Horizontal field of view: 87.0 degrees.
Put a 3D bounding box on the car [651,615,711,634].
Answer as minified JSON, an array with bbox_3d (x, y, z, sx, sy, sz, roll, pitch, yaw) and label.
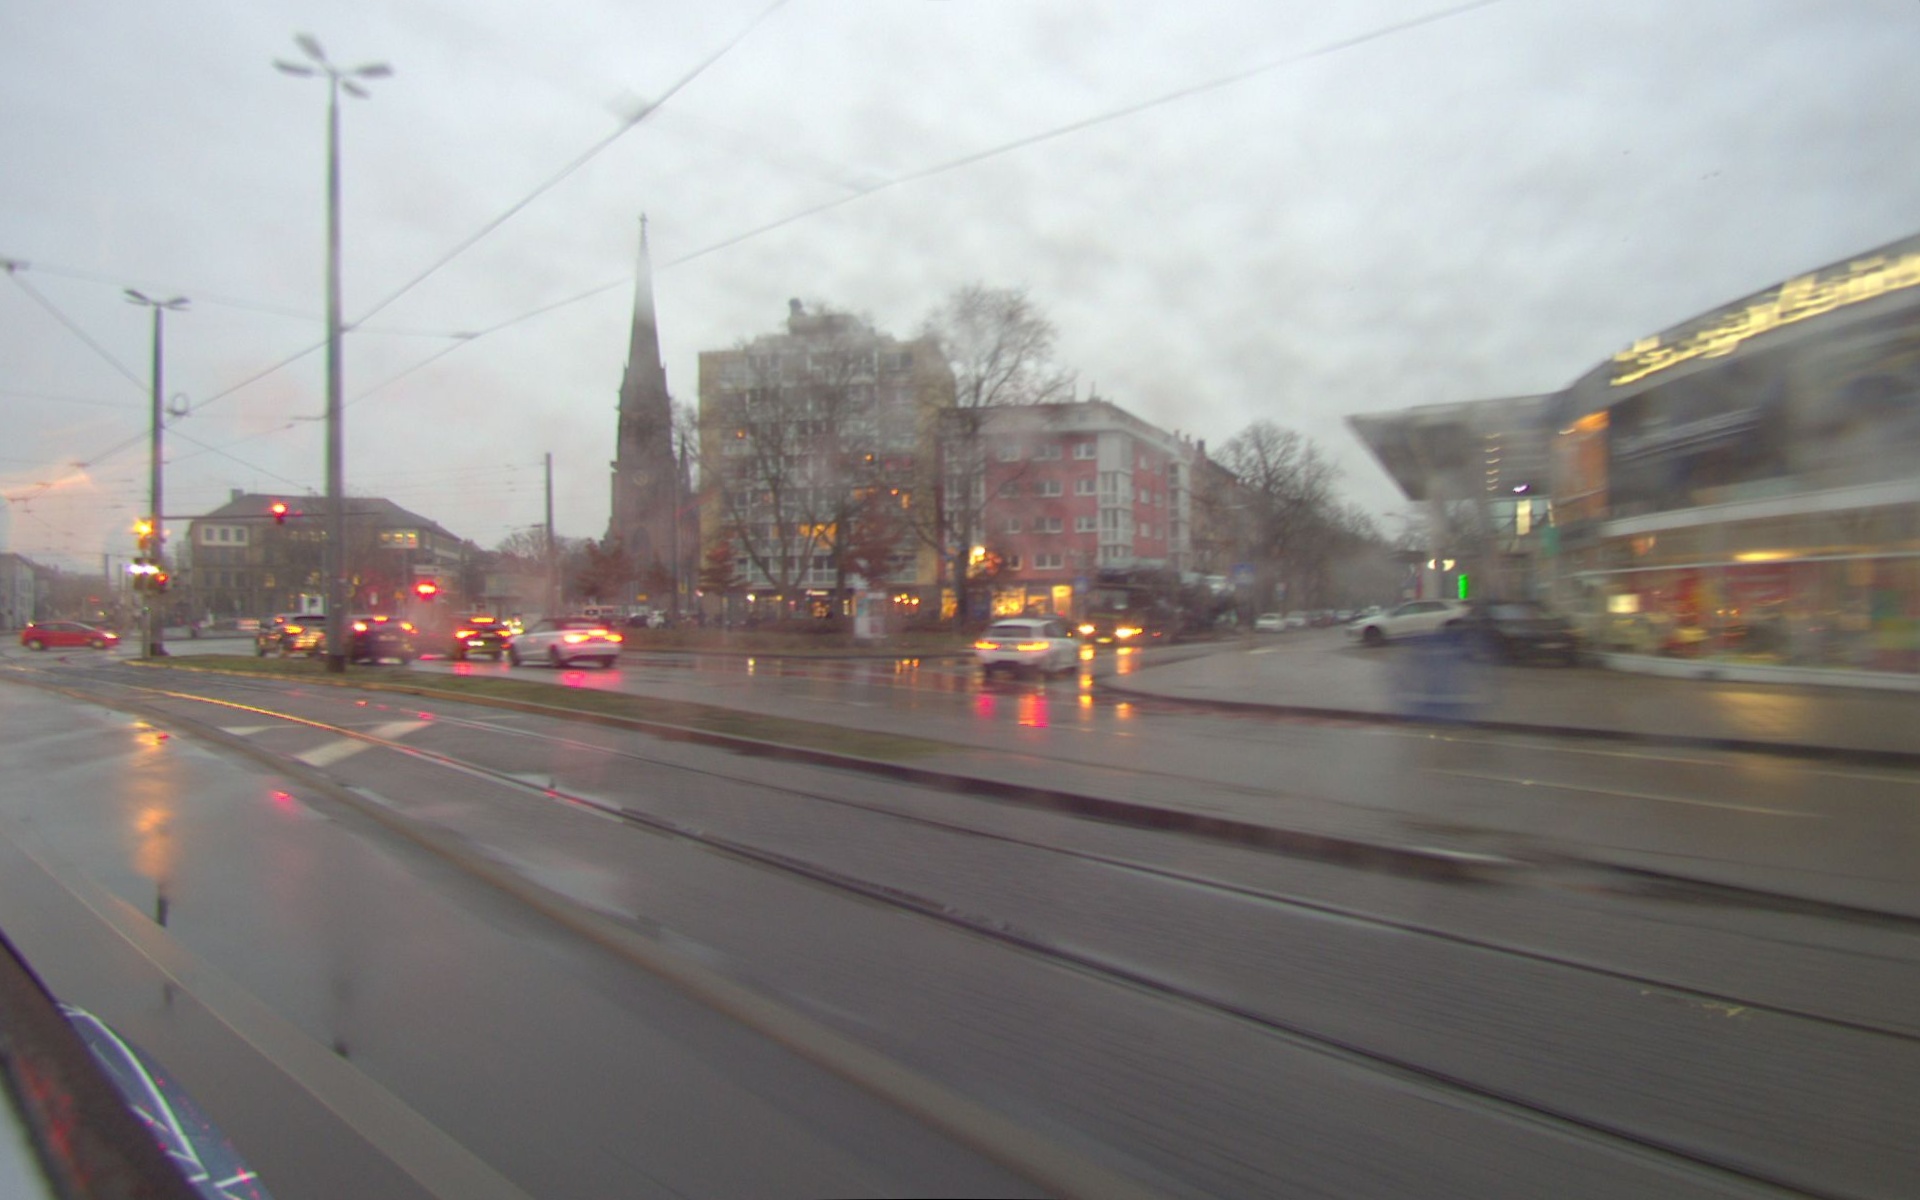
[{"bbox_3d":[-20.813,1.806,75.590,3.947,1.320,1.998,-1,0,3],"label":"car"}]

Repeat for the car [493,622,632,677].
[{"bbox_3d":[-11.672,1.380,29.565,4.587,1.432,1.972,-1,-1,43],"label":"car"}]

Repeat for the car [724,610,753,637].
[{"bbox_3d":[-17.040,1.781,77.912,1.968,2.029,4.008,-1,0,-9],"label":"car"}]

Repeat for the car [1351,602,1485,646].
[{"bbox_3d":[17.194,0.878,38.051,4.404,1.534,1.865,-1,0,31],"label":"car"}]

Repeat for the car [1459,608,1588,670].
[{"bbox_3d":[14.323,0.938,25.991,1.725,1.409,4.277,-1,0,13],"label":"car"}]

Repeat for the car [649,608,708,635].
[{"bbox_3d":[-21.926,1.642,78.928,3.947,2.029,1.998,-1,0,3],"label":"car"}]

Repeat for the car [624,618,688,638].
[{"bbox_3d":[-21.836,2.001,72.715,3.947,1.320,1.998,-1,0,3],"label":"car"}]

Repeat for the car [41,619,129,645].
[{"bbox_3d":[-56.453,2.035,65.336,3.943,1.564,2.000,-1,0,-1],"label":"car"}]

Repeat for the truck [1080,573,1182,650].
[{"bbox_3d":[8.281,0.496,48.435,2.647,3.443,6.688,-1,0,30],"label":"truck"}]

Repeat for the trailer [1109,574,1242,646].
[{"bbox_3d":[12.096,0.434,55.081,2.626,3.443,14.905,-1,0,30],"label":"trailer"}]

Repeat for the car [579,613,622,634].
[{"bbox_3d":[-33.600,2.188,94.837,1.805,1.807,4.553,-1,-1,10],"label":"car"}]

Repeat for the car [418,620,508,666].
[{"bbox_3d":[-16.864,1.417,34.265,3.471,1.429,1.583,-1,-1,43],"label":"car"}]

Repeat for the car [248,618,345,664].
[{"bbox_3d":[-23.299,1.412,35.510,3.999,1.497,1.880,-1,-1,42],"label":"car"}]

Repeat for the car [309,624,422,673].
[{"bbox_3d":[-18.110,1.436,30.782,4.000,1.401,1.851,-1,-3,43],"label":"car"}]

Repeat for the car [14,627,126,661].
[{"bbox_3d":[-45.678,2.231,52.070,4.026,1.541,2.006,-1,0,-32],"label":"car"}]

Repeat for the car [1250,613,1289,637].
[{"bbox_3d":[23.239,1.858,75.875,1.992,1.674,3.959,-1,-1,30],"label":"car"}]

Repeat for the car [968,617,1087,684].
[{"bbox_3d":[1.871,1.234,26.308,1.984,1.509,4.781,-1,-1,18],"label":"car"}]

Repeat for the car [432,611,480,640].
[{"bbox_3d":[-37.193,1.839,74.800,1.968,2.029,4.007,-1,0,-8],"label":"car"}]

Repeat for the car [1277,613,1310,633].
[{"bbox_3d":[28.695,1.969,86.939,1.962,1.674,3.959,-1,-1,30],"label":"car"}]

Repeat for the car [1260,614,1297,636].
[{"bbox_3d":[25.285,1.957,80.249,1.992,1.674,3.959,-1,-1,30],"label":"car"}]

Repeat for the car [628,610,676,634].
[{"bbox_3d":[-28.333,1.998,93.137,3.930,2.029,2.007,-1,0,-24],"label":"car"}]

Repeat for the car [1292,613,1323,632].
[{"bbox_3d":[32.352,2.072,94.168,1.962,1.674,3.959,-1,-1,30],"label":"car"}]

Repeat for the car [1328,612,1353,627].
[{"bbox_3d":[42.933,2.158,114.120,1.962,1.674,3.959,-1,-1,30],"label":"car"}]

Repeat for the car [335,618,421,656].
[{"bbox_3d":[-22.659,1.420,39.352,3.999,1.368,1.706,-1,-1,42],"label":"car"}]

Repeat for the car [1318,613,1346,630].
[{"bbox_3d":[37.243,2.137,101.220,1.962,1.674,3.959,-1,-1,30],"label":"car"}]

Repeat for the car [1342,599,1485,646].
[{"bbox_3d":[15.889,0.776,35.539,4.404,1.534,1.865,-1,0,31],"label":"car"}]
